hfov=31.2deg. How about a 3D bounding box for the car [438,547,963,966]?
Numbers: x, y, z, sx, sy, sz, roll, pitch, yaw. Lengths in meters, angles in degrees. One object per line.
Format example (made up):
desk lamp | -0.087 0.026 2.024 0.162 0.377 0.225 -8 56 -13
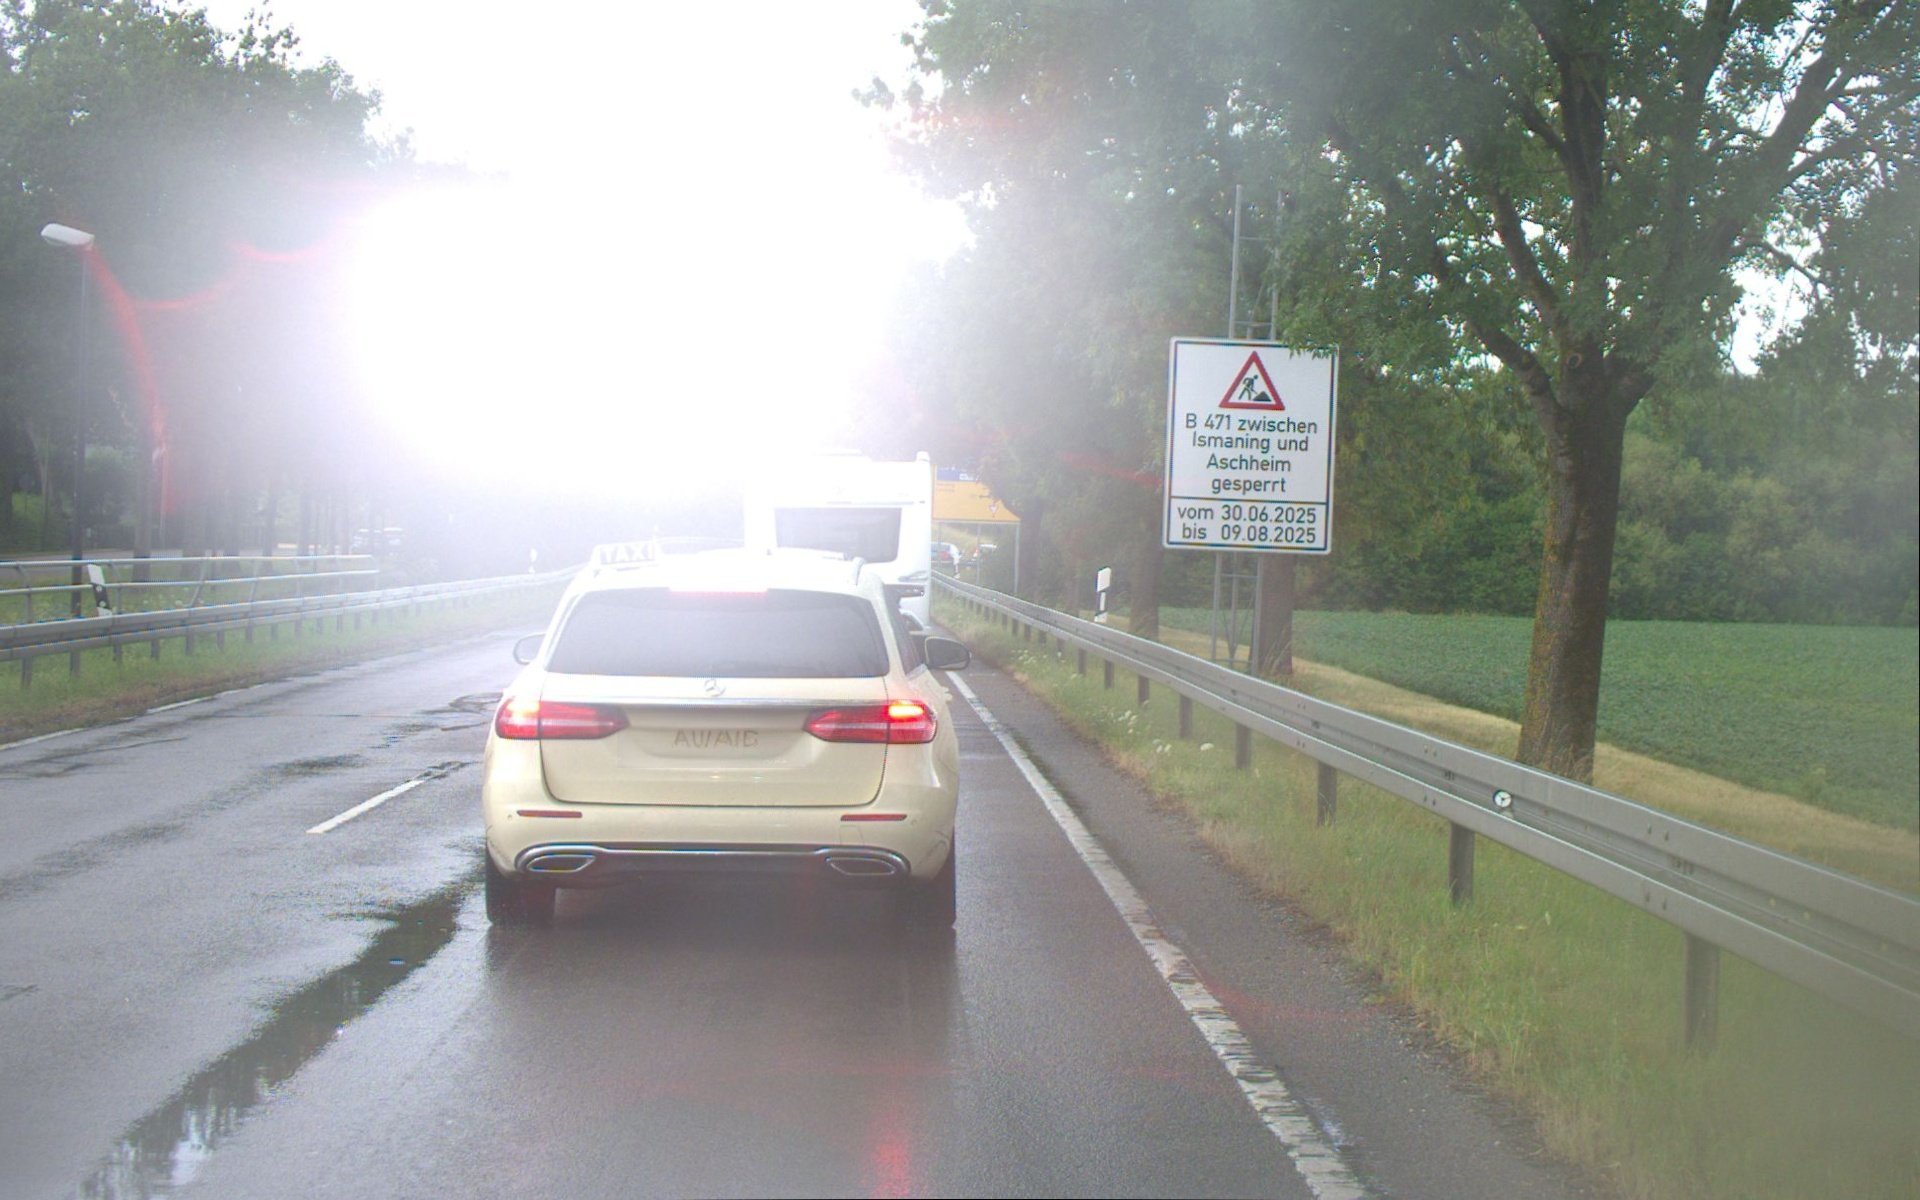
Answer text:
car | -0.948 0.529 14.268 1.865 1.471 4.000 0 1 -1

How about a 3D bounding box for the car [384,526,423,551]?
car | -32.779 -3.614 202.519 1.785 1.411 4.001 2 1 -3

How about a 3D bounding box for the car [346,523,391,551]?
car | -32.502 -3.466 189.067 1.785 1.411 4.000 2 1 -1

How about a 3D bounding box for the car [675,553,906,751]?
car | -1.277 0.357 27.230 1.664 1.426 4.000 0 1 -1

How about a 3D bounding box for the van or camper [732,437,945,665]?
van or camper | -1.481 -0.633 43.825 2.489 2.676 5.701 1 1 -1
